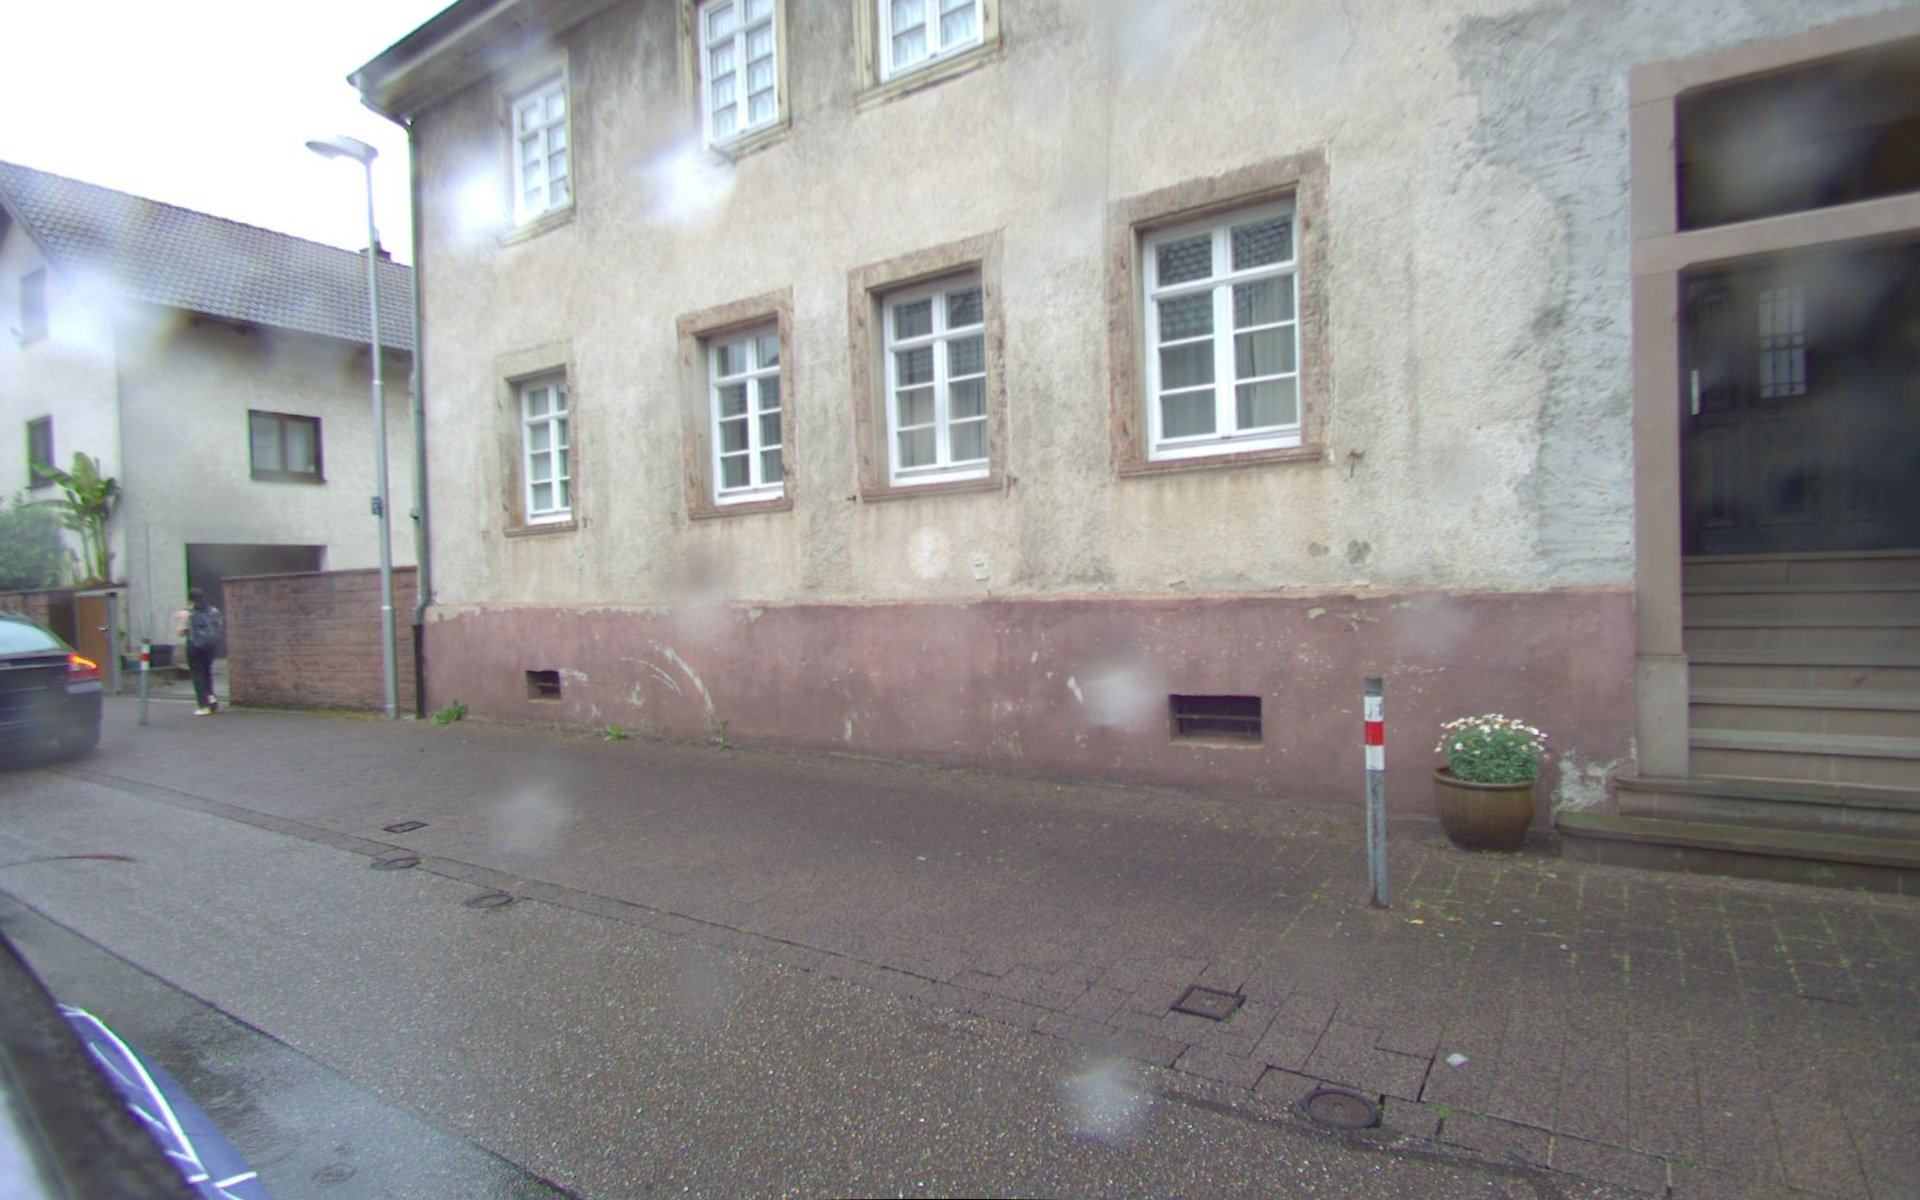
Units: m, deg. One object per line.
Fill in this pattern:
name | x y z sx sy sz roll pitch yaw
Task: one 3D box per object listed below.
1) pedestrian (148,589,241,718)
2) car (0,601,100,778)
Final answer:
pedestrian | -9.694 0.661 12.815 0.829 1.549 0.568 -1 2 29
car | -10.191 0.801 9.871 4.331 1.520 1.682 0 1 35
